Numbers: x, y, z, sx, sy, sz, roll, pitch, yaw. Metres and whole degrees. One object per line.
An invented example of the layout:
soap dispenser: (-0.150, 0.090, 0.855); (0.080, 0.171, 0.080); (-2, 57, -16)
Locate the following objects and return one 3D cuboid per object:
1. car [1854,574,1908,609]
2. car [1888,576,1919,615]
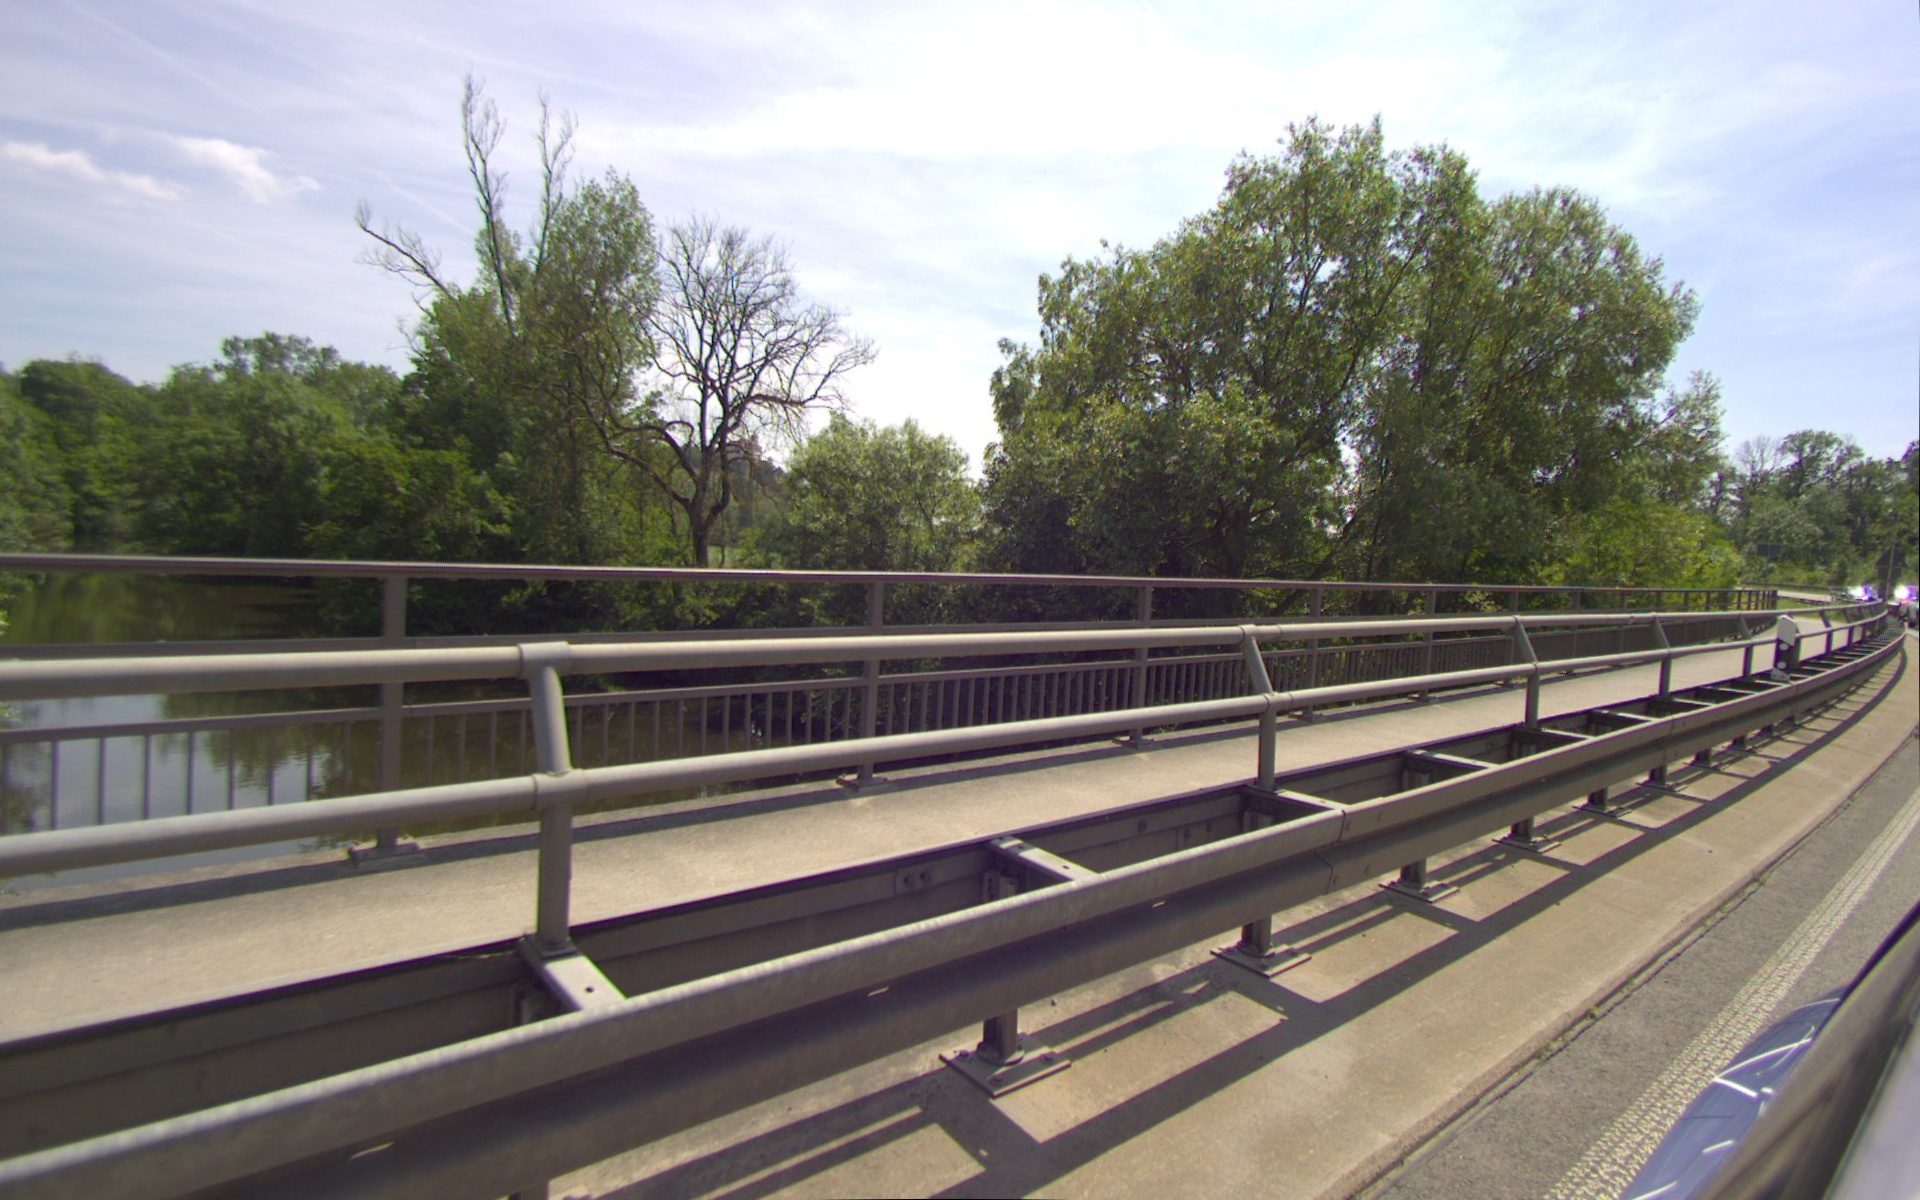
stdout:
car: (55.168, -0.537, 60.668); (1.988, 2.039, 3.947); (0, 1, 37)
car: (45.656, -0.194, 47.985); (1.989, 1.797, 3.947); (2, 2, 37)
